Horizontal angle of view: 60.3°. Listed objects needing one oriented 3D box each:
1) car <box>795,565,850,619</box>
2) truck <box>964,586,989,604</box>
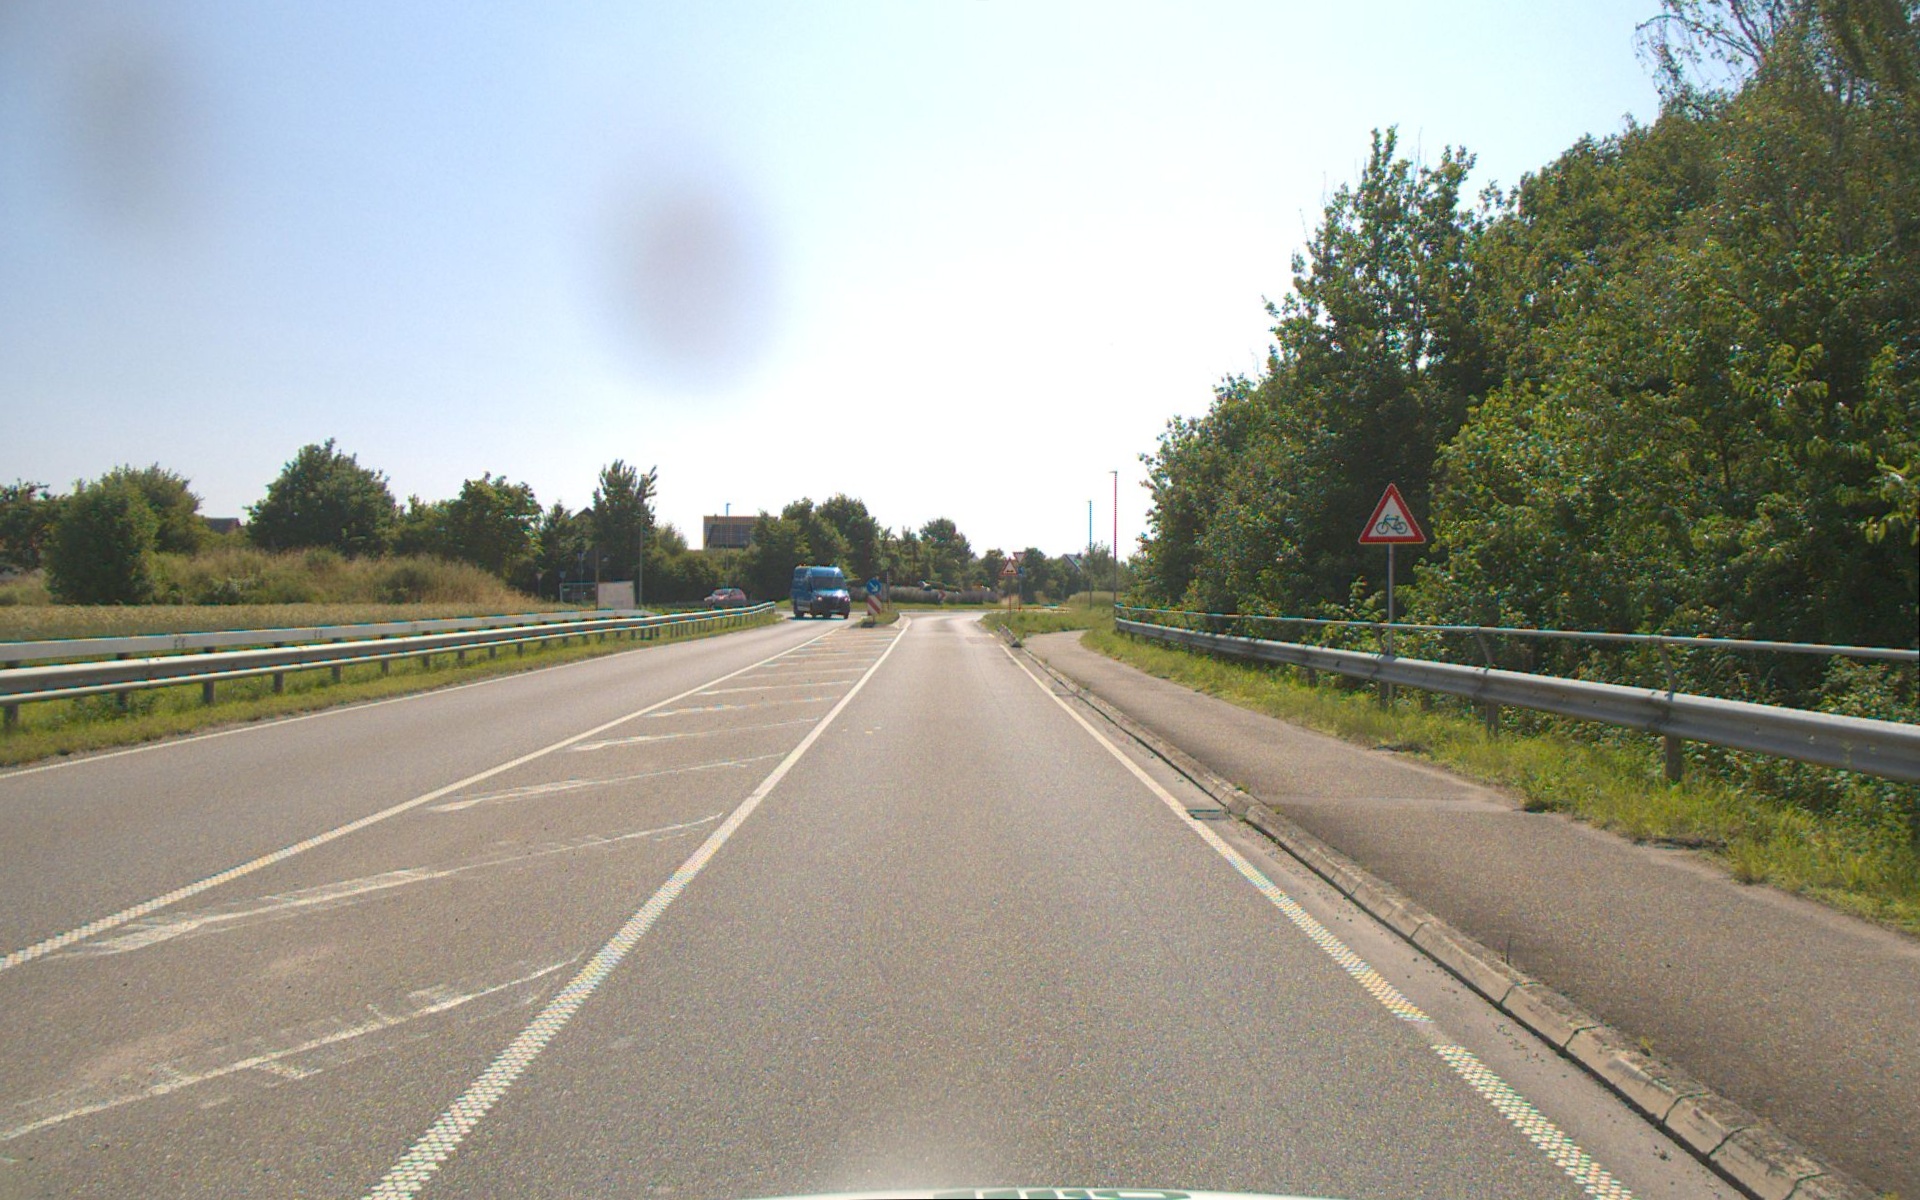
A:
[{"bbox_3d":[-7.236,-0.423,86.515,1.958,2.657,7.268,-1,0,-12],"label":"car"},{"bbox_3d":[1.912,-0.592,192.667,1.951,2.049,4.003,1,0,14],"label":"truck"}]
